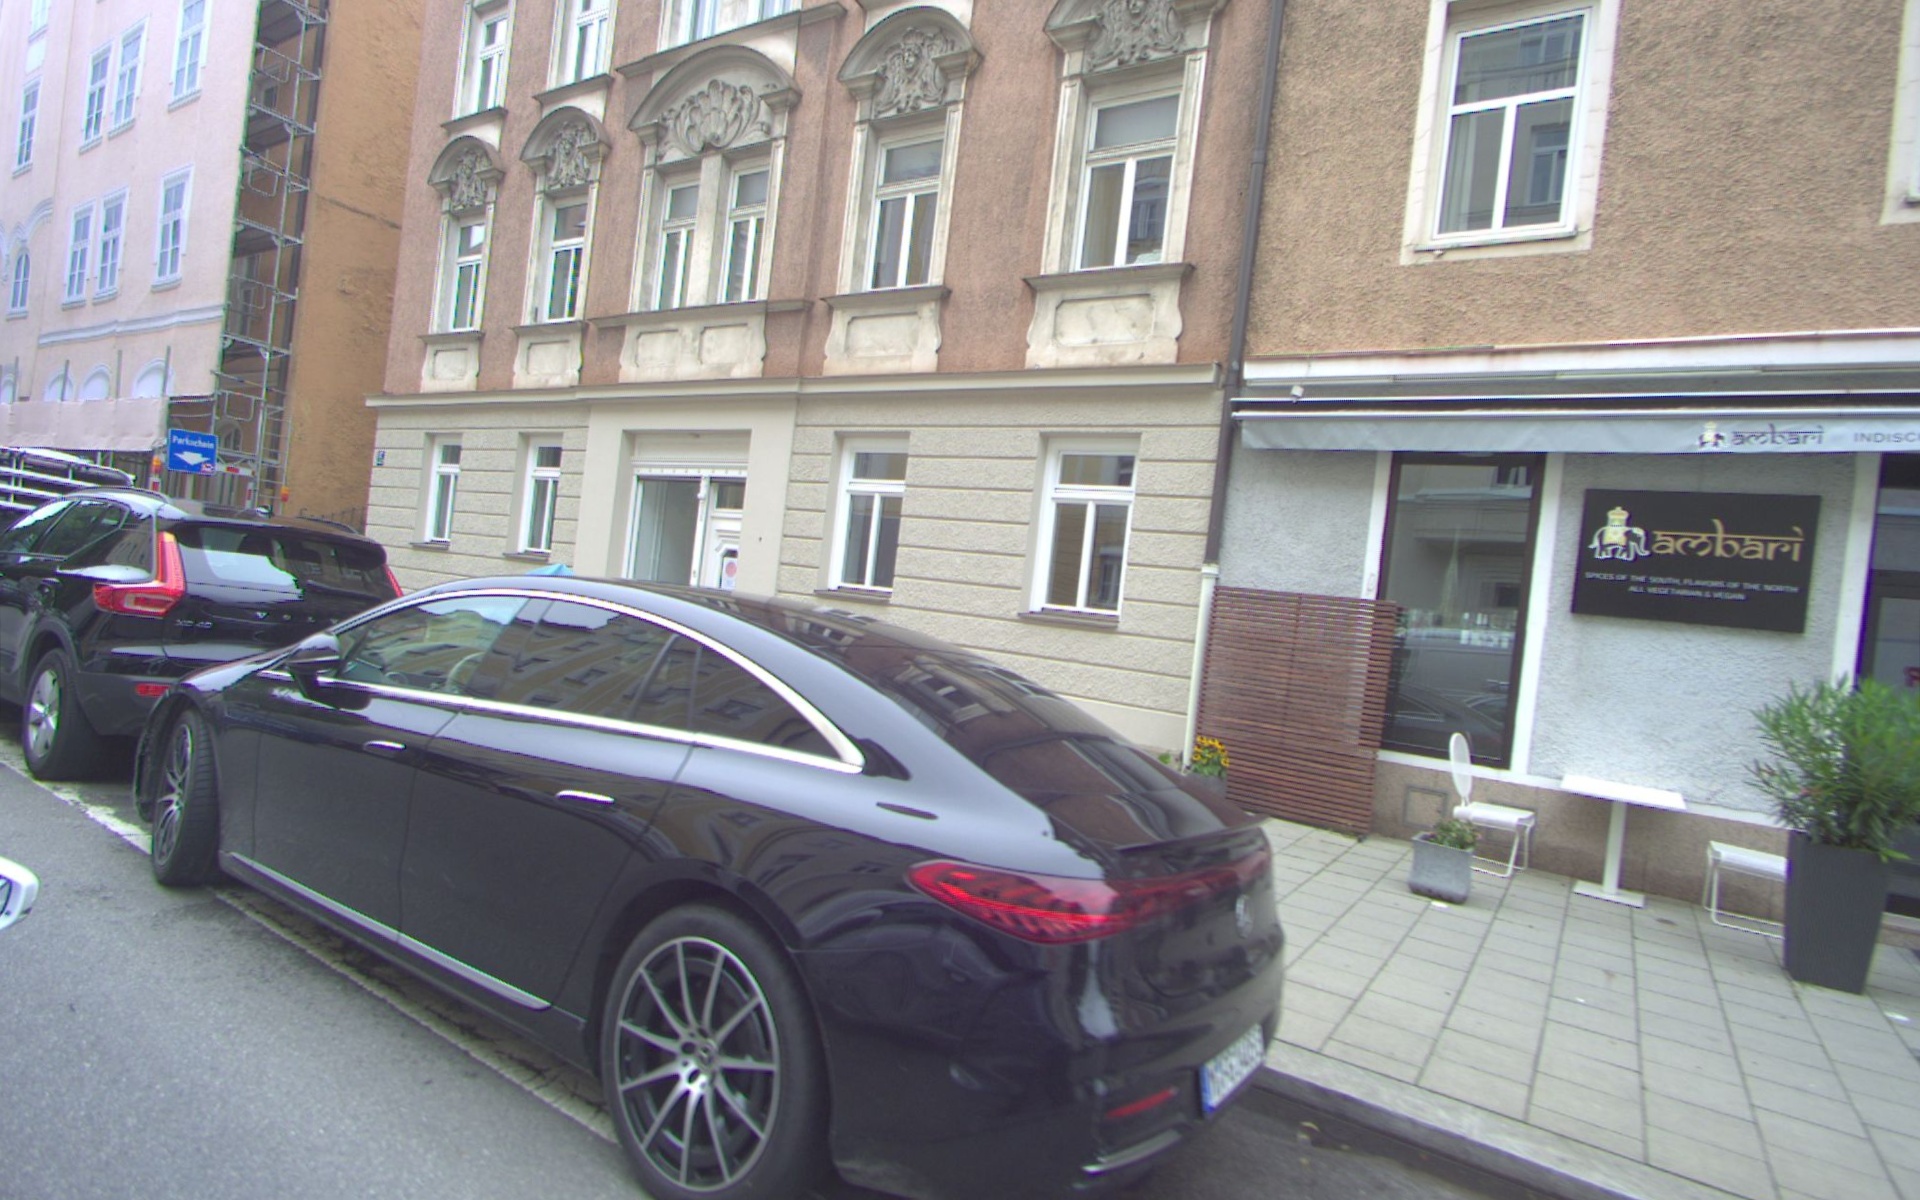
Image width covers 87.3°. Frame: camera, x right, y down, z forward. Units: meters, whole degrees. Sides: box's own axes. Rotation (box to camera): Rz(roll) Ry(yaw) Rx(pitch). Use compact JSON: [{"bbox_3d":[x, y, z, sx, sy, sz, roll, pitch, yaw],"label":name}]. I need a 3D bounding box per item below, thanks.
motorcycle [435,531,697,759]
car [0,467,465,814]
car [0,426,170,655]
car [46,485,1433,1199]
[{"bbox_3d":[-3.178,0.315,8.046,1.966,1.523,0.872,7,0,35],"label":"motorcycle"},{"bbox_3d":[-5.499,0.134,6.878,4.337,1.694,1.697,6,-4,34],"label":"car"},{"bbox_3d":[-10.495,-0.665,10.395,5.060,1.942,2.085,4,-3,34],"label":"car"},{"bbox_3d":[-1.337,0.603,4.027,5.544,1.571,1.934,7,-1,32],"label":"car"}]
